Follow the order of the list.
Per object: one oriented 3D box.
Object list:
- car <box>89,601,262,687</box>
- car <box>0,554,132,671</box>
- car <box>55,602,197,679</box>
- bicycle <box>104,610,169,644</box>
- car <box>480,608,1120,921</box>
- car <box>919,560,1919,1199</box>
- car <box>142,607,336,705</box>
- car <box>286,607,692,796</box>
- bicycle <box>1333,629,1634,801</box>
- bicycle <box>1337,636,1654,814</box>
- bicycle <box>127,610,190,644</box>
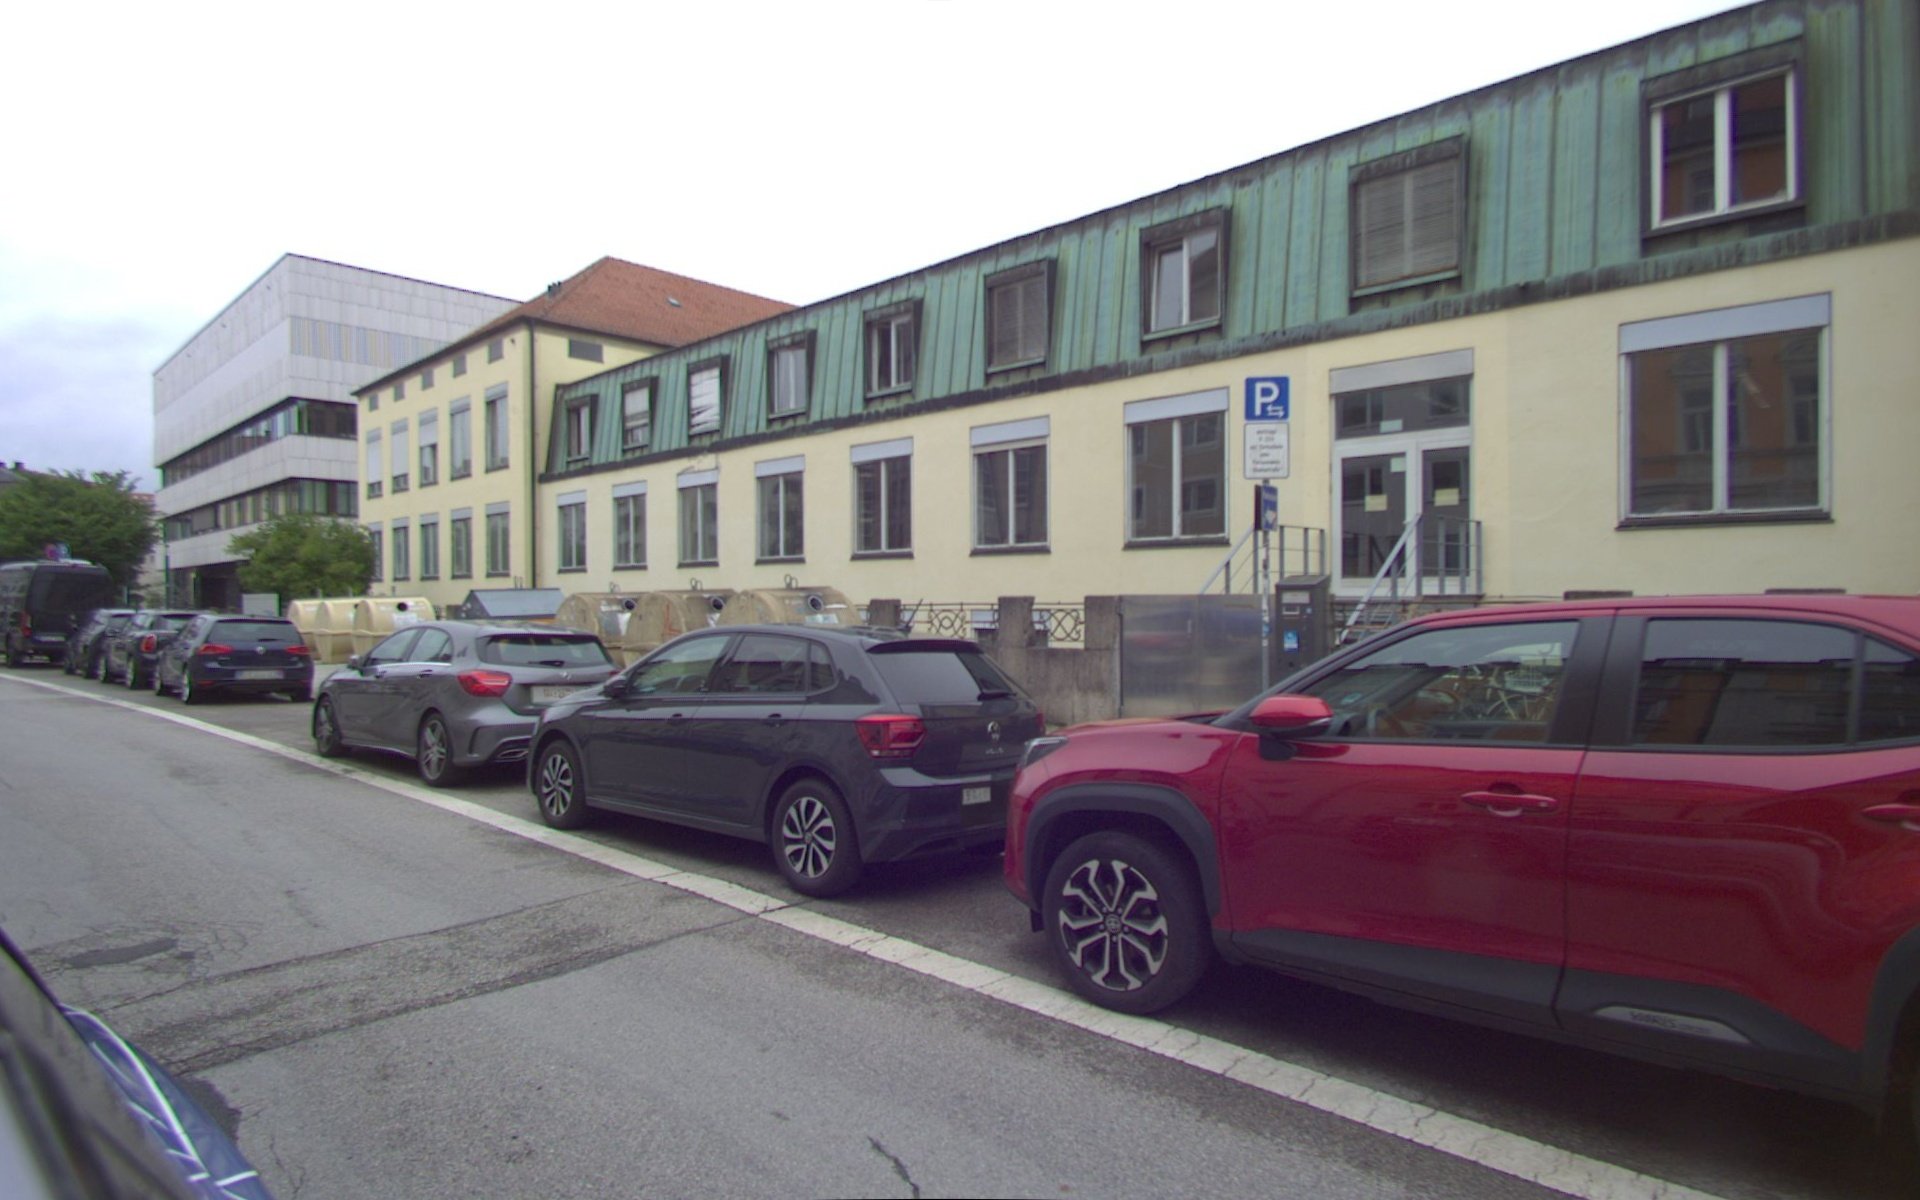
[{"bbox_3d":[-16.234,0.900,20.885,4.348,1.599,1.894,-1,-4,40],"label":"car"},{"bbox_3d":[-25.049,0.333,27.588,6.182,2.875,2.194,0,-2,35],"label":"car"},{"bbox_3d":[-19.667,0.910,23.803,4.347,1.649,1.860,-1,-3,41],"label":"car"},{"bbox_3d":[-30.776,0.993,37.845,0.519,1.160,1.792,0,1,40],"label":"bicycle"},{"bbox_3d":[-1.279,0.795,6.716,4.351,1.415,1.732,0,-2,40],"label":"car"},{"bbox_3d":[2.180,0.685,3.596,4.526,1.493,1.938,0,-2,40],"label":"car"},{"bbox_3d":[-12.695,0.918,17.698,4.532,1.493,1.892,-1,-3,43],"label":"car"},{"bbox_3d":[-4.905,0.838,10.218,4.613,1.429,1.993,0,-2,41],"label":"car"},{"bbox_3d":[4.177,0.856,8.219,2.106,1.194,0.529,0,0,43],"label":"bicycle"},{"bbox_3d":[4.066,0.889,7.837,2.106,1.156,0.529,0,0,43],"label":"bicycle"},{"bbox_3d":[-29.334,0.962,37.047,1.789,1.160,0.520,-1,1,-41],"label":"bicycle"}]
